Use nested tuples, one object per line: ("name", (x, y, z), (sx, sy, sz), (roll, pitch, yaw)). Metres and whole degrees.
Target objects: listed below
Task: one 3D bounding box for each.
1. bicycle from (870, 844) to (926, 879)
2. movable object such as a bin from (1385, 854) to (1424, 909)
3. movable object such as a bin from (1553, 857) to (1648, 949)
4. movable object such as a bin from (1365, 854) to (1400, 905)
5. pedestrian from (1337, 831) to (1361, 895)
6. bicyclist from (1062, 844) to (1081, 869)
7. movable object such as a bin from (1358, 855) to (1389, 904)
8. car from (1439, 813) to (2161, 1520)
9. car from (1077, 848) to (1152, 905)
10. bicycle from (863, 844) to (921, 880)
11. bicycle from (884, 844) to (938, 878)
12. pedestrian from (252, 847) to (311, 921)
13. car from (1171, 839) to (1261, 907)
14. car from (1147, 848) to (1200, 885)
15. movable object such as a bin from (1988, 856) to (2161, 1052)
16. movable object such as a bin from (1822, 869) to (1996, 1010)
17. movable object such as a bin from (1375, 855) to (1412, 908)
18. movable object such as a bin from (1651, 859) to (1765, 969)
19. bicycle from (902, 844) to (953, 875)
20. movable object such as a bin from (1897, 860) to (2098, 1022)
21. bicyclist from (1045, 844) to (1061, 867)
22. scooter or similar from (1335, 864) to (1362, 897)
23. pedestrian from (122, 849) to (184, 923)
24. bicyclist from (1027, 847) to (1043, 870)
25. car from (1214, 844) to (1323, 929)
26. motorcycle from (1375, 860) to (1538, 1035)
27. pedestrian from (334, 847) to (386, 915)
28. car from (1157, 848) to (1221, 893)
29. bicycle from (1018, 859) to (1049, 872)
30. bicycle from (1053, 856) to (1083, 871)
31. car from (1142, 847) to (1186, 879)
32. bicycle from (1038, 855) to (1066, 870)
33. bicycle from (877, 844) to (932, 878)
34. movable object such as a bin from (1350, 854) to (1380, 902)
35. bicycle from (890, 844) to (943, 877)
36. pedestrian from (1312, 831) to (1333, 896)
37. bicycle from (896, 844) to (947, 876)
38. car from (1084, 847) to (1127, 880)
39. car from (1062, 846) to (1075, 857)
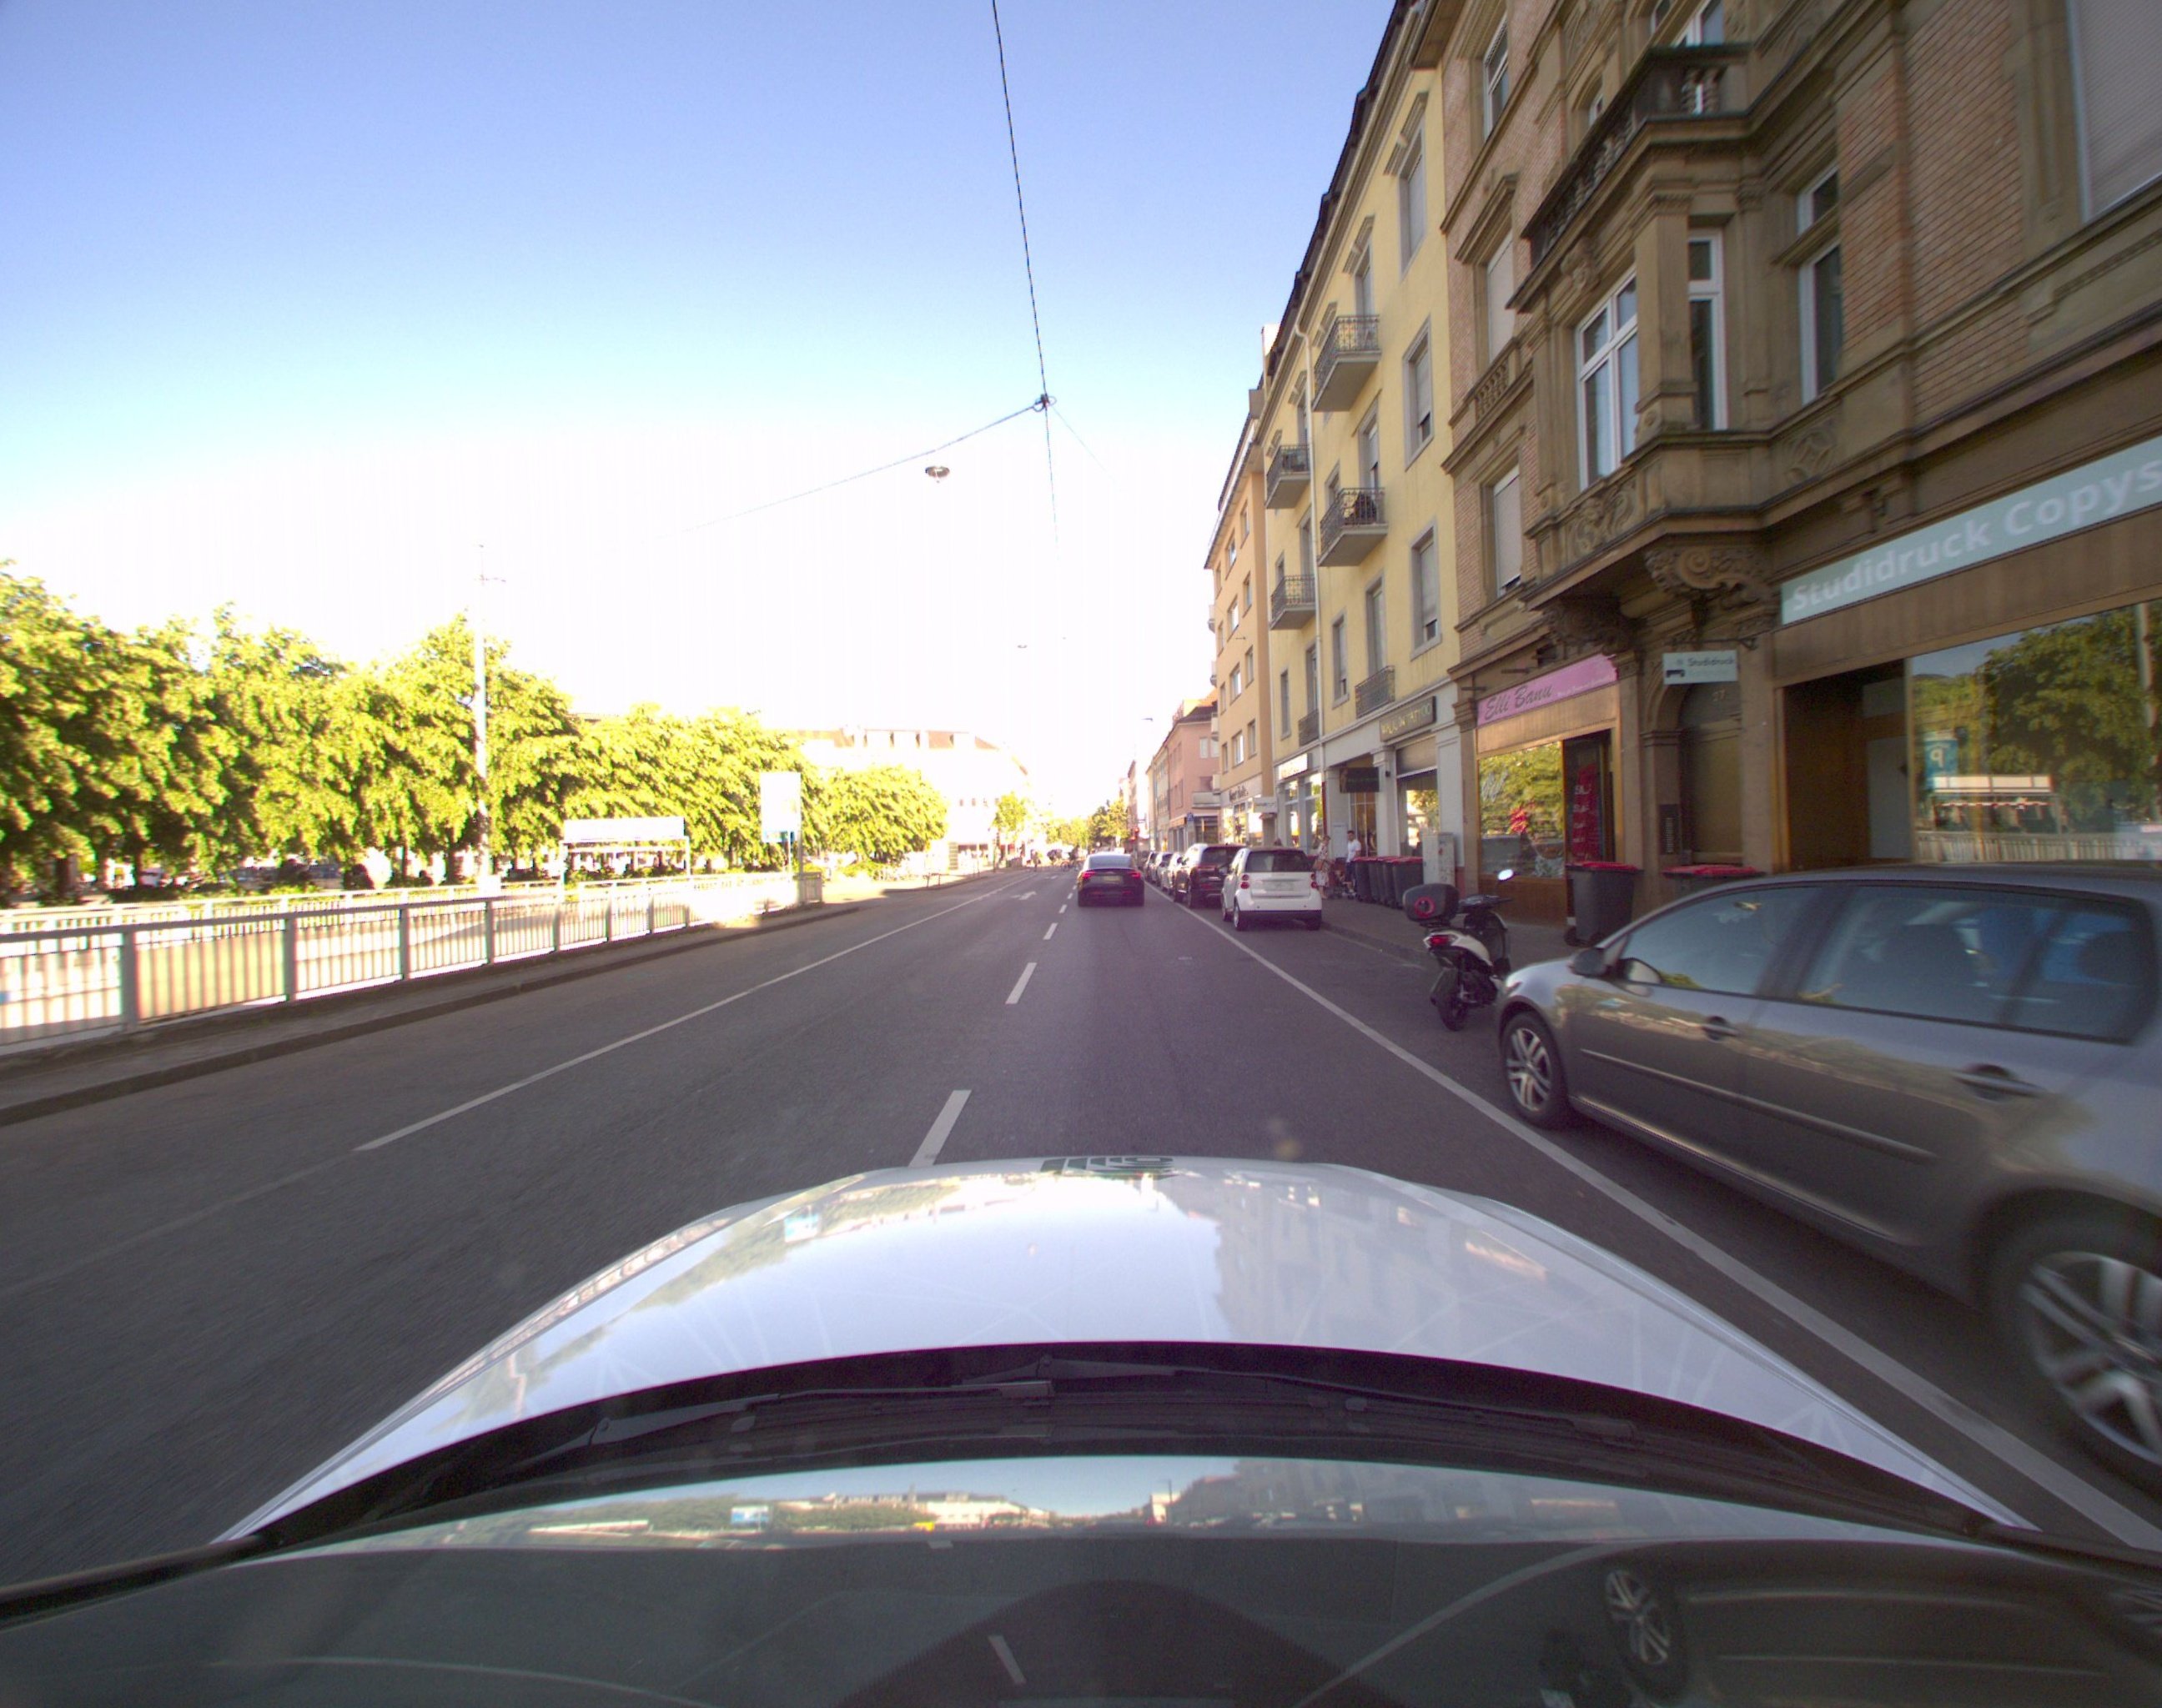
("bicycle", (-10.955, 0.450, 48.765), (3.102, 2.013, 0.911), (-1, 0, 10))
("movable object such as a bin", (6.510, 0.540, 16.404), (0.477, 1.052, 0.632), (-3, 0, 0))
("movable object such as a bin", (6.542, 0.598, 10.284), (0.641, 1.076, 0.820), (-3, 0, 2))
("movable object such as a bin", (6.554, 0.545, 17.730), (0.477, 1.052, 0.632), (-3, 0, 0))
("pedestrian", (6.941, 0.218, 21.127), (0.468, 1.635, 0.514), (-1, 0, 6))
("bicyclist", (-0.650, 0.179, 57.066), (1.140, 1.686, 0.921), (-1, 0, 8))
("movable object such as a bin", (6.553, 0.557, 18.281), (0.477, 1.052, 0.468), (-3, 0, 0))
("car", (3.288, 0.657, 3.325), (1.833, 1.546, 4.228), (0, 1, 0))
("car", (0.894, 0.616, 23.772), (1.989, 1.480, 4.494), (0, -1, 0))
("bicycle", (-11.090, 0.470, 47.810), (3.102, 2.013, 0.911), (-1, 0, 10))
("bicycle", (-10.605, 0.418, 50.799), (3.102, 2.013, 0.911), (-1, 0, 10))
("pedestrian", (-23.283, 0.859, 23.720), (0.726, 2.108, 0.973), (-1, 0, 23))
("car", (3.538, 0.487, 22.032), (1.711, 1.635, 4.082), (0, -1, -1))
("car", (3.895, 0.525, 34.820), (1.786, 1.460, 3.867), (0, -1, 0))
("movable object such as a bin", (6.363, 0.585, 5.073), (0.677, 1.096, 0.626), (-3, 0, 0))
("movable object such as a bin", (6.480, 0.645, 6.404), (0.721, 1.000, 0.593), (-3, 0, 0))
("movable object such as a bin", (6.546, 0.572, 17.074), (0.493, 1.052, 0.632), (-3, 0, 0))
("movable object such as a bin", (6.436, 0.596, 8.383), (0.642, 1.052, 0.632), (-3, 0, 0))
("bicycle", (-10.168, 0.346, 53.960), (3.102, 2.013, 0.911), (-1, 0, 10))
("movable object such as a bin", (6.469, 0.586, 5.782), (0.677, 1.043, 0.626), (-3, 0, 0))
("bicyclist", (-2.037, 0.093, 60.108), (1.143, 1.686, 0.819), (-1, 0, -3))
("scooter or similar", (6.663, 0.661, 20.288), (0.574, 0.779, 0.469), (-4, -1, 17))
("pedestrian", (-27.001, 0.915, 23.707), (0.726, 2.108, 0.973), (-1, 0, 23))
("bicyclist", (-3.539, 0.348, 62.786), (1.141, 1.686, 0.916), (-1, 0, 4))
("car", (3.640, 0.571, 16.203), (1.607, 1.546, 2.857), (0, 1, 2))
("motorcycle", (3.465, 0.750, 7.406), (2.056, 1.328, 0.648), (-2, 0, -45))
("pedestrian", (-22.827, 0.842, 25.792), (0.726, 2.108, 0.973), (-1, 0, 23))
("car", (3.716, 0.554, 28.578), (1.786, 1.460, 4.085), (0, -1, 1))
("bicycle", (-3.683, 0.875, 62.797), (2.233, 0.883, 0.925), (-1, 0, 4))
("bicycle", (-0.900, 0.648, 57.097), (2.001, 1.022, 0.889), (-1, 0, 7))
("car", (3.949, 0.447, 39.203), (1.786, 1.460, 3.869), (0, -1, 1))
("bicycle", (-2.142, 0.603, 60.107), (2.007, 1.022, 0.761), (-1, 0, -3))
("bicycle", (-10.795, 0.429, 49.755), (3.102, 2.013, 0.911), (-1, 0, 10))
("movable object such as a bin", (6.551, 0.548, 18.796), (0.454, 1.052, 0.499), (-3, 0, 0))
("bicycle", (-10.481, 0.420, 51.882), (3.102, 2.013, 0.911), (-1, 0, 10))
("pedestrian", (6.146, 0.240, 20.741), (0.467, 1.635, 0.515), (-1, 0, 17))
("bicycle", (-10.370, 0.370, 52.922), (3.102, 2.013, 0.911), (-1, 0, 10))
("car", (1.231, 0.428, 39.469), (1.927, 1.487, 4.274), (-1, 0, 3))
("car", (-2.148, -0.363, 137.245), (1.986, 1.771, 4.003), (-1, 1, 2))
